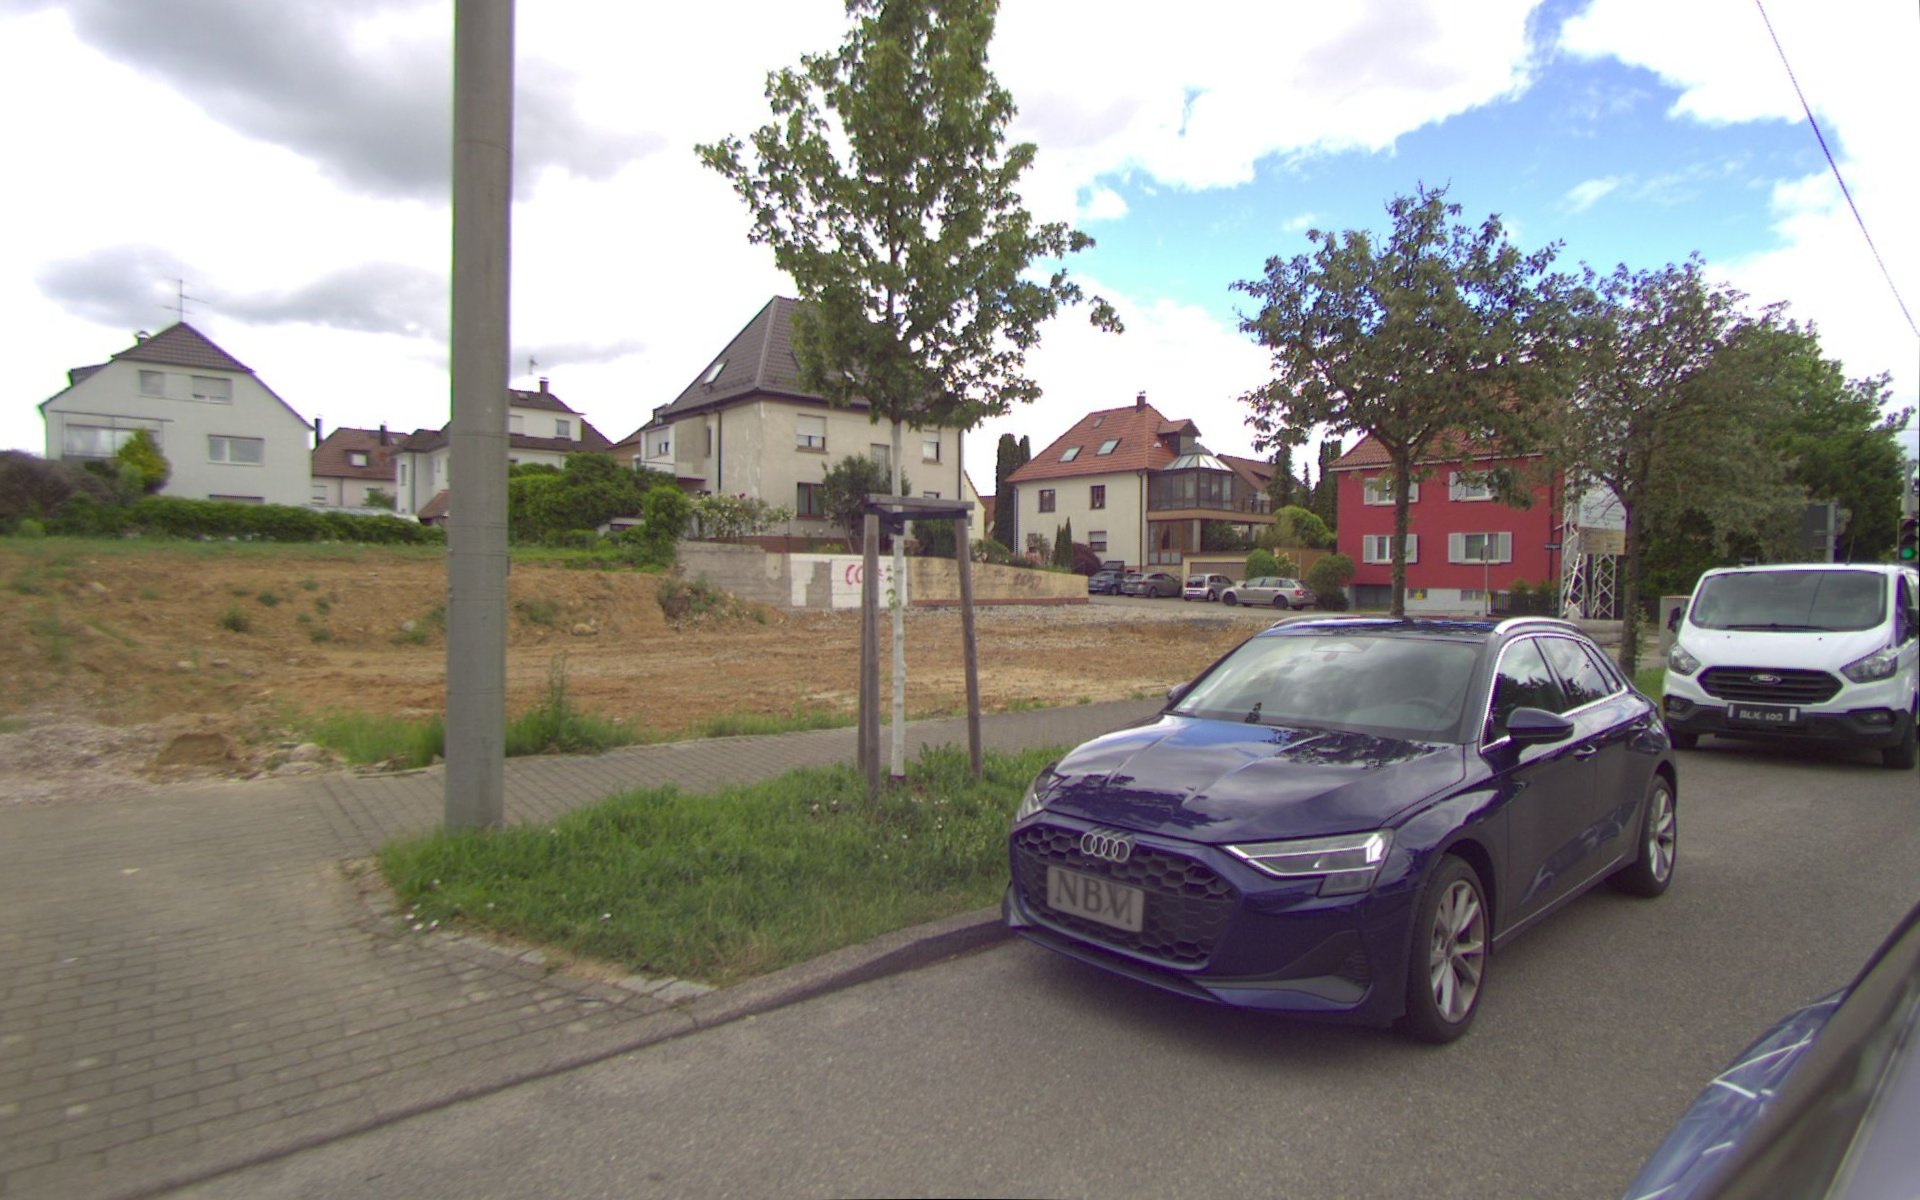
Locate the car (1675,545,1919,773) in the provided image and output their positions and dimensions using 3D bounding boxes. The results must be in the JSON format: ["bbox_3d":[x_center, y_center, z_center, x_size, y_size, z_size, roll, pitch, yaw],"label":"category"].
[{"bbox_3d":[9.440,0.500,10.984,4.706,1.968,1.777,0,0,-42],"label":"car"}]

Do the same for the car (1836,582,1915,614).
[{"bbox_3d":[54.793,-0.152,60.613,1.554,1.653,3.356,0,4,-44],"label":"car"}]

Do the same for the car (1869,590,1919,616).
[{"bbox_3d":[57.953,0.200,61.990,3.351,1.477,1.722,3,2,43],"label":"car"}]

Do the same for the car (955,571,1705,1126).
[{"bbox_3d":[2.057,0.679,4.832,4.149,1.535,1.667,0,0,-43],"label":"car"}]

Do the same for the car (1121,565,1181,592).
[{"bbox_3d":[10.902,-1.183,57.596,3.442,1.486,1.619,-1,0,-42],"label":"car"}]

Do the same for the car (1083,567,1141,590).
[{"bbox_3d":[8.972,-1.245,59.591,3.442,1.341,1.619,-1,0,-42],"label":"car"}]

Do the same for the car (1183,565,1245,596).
[{"bbox_3d":[13.548,-1.018,53.938,3.442,1.560,1.619,-1,0,-42],"label":"car"}]

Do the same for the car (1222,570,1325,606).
[{"bbox_3d":[14.493,-0.562,46.911,1.730,1.442,4.227,2,2,-42],"label":"car"}]
